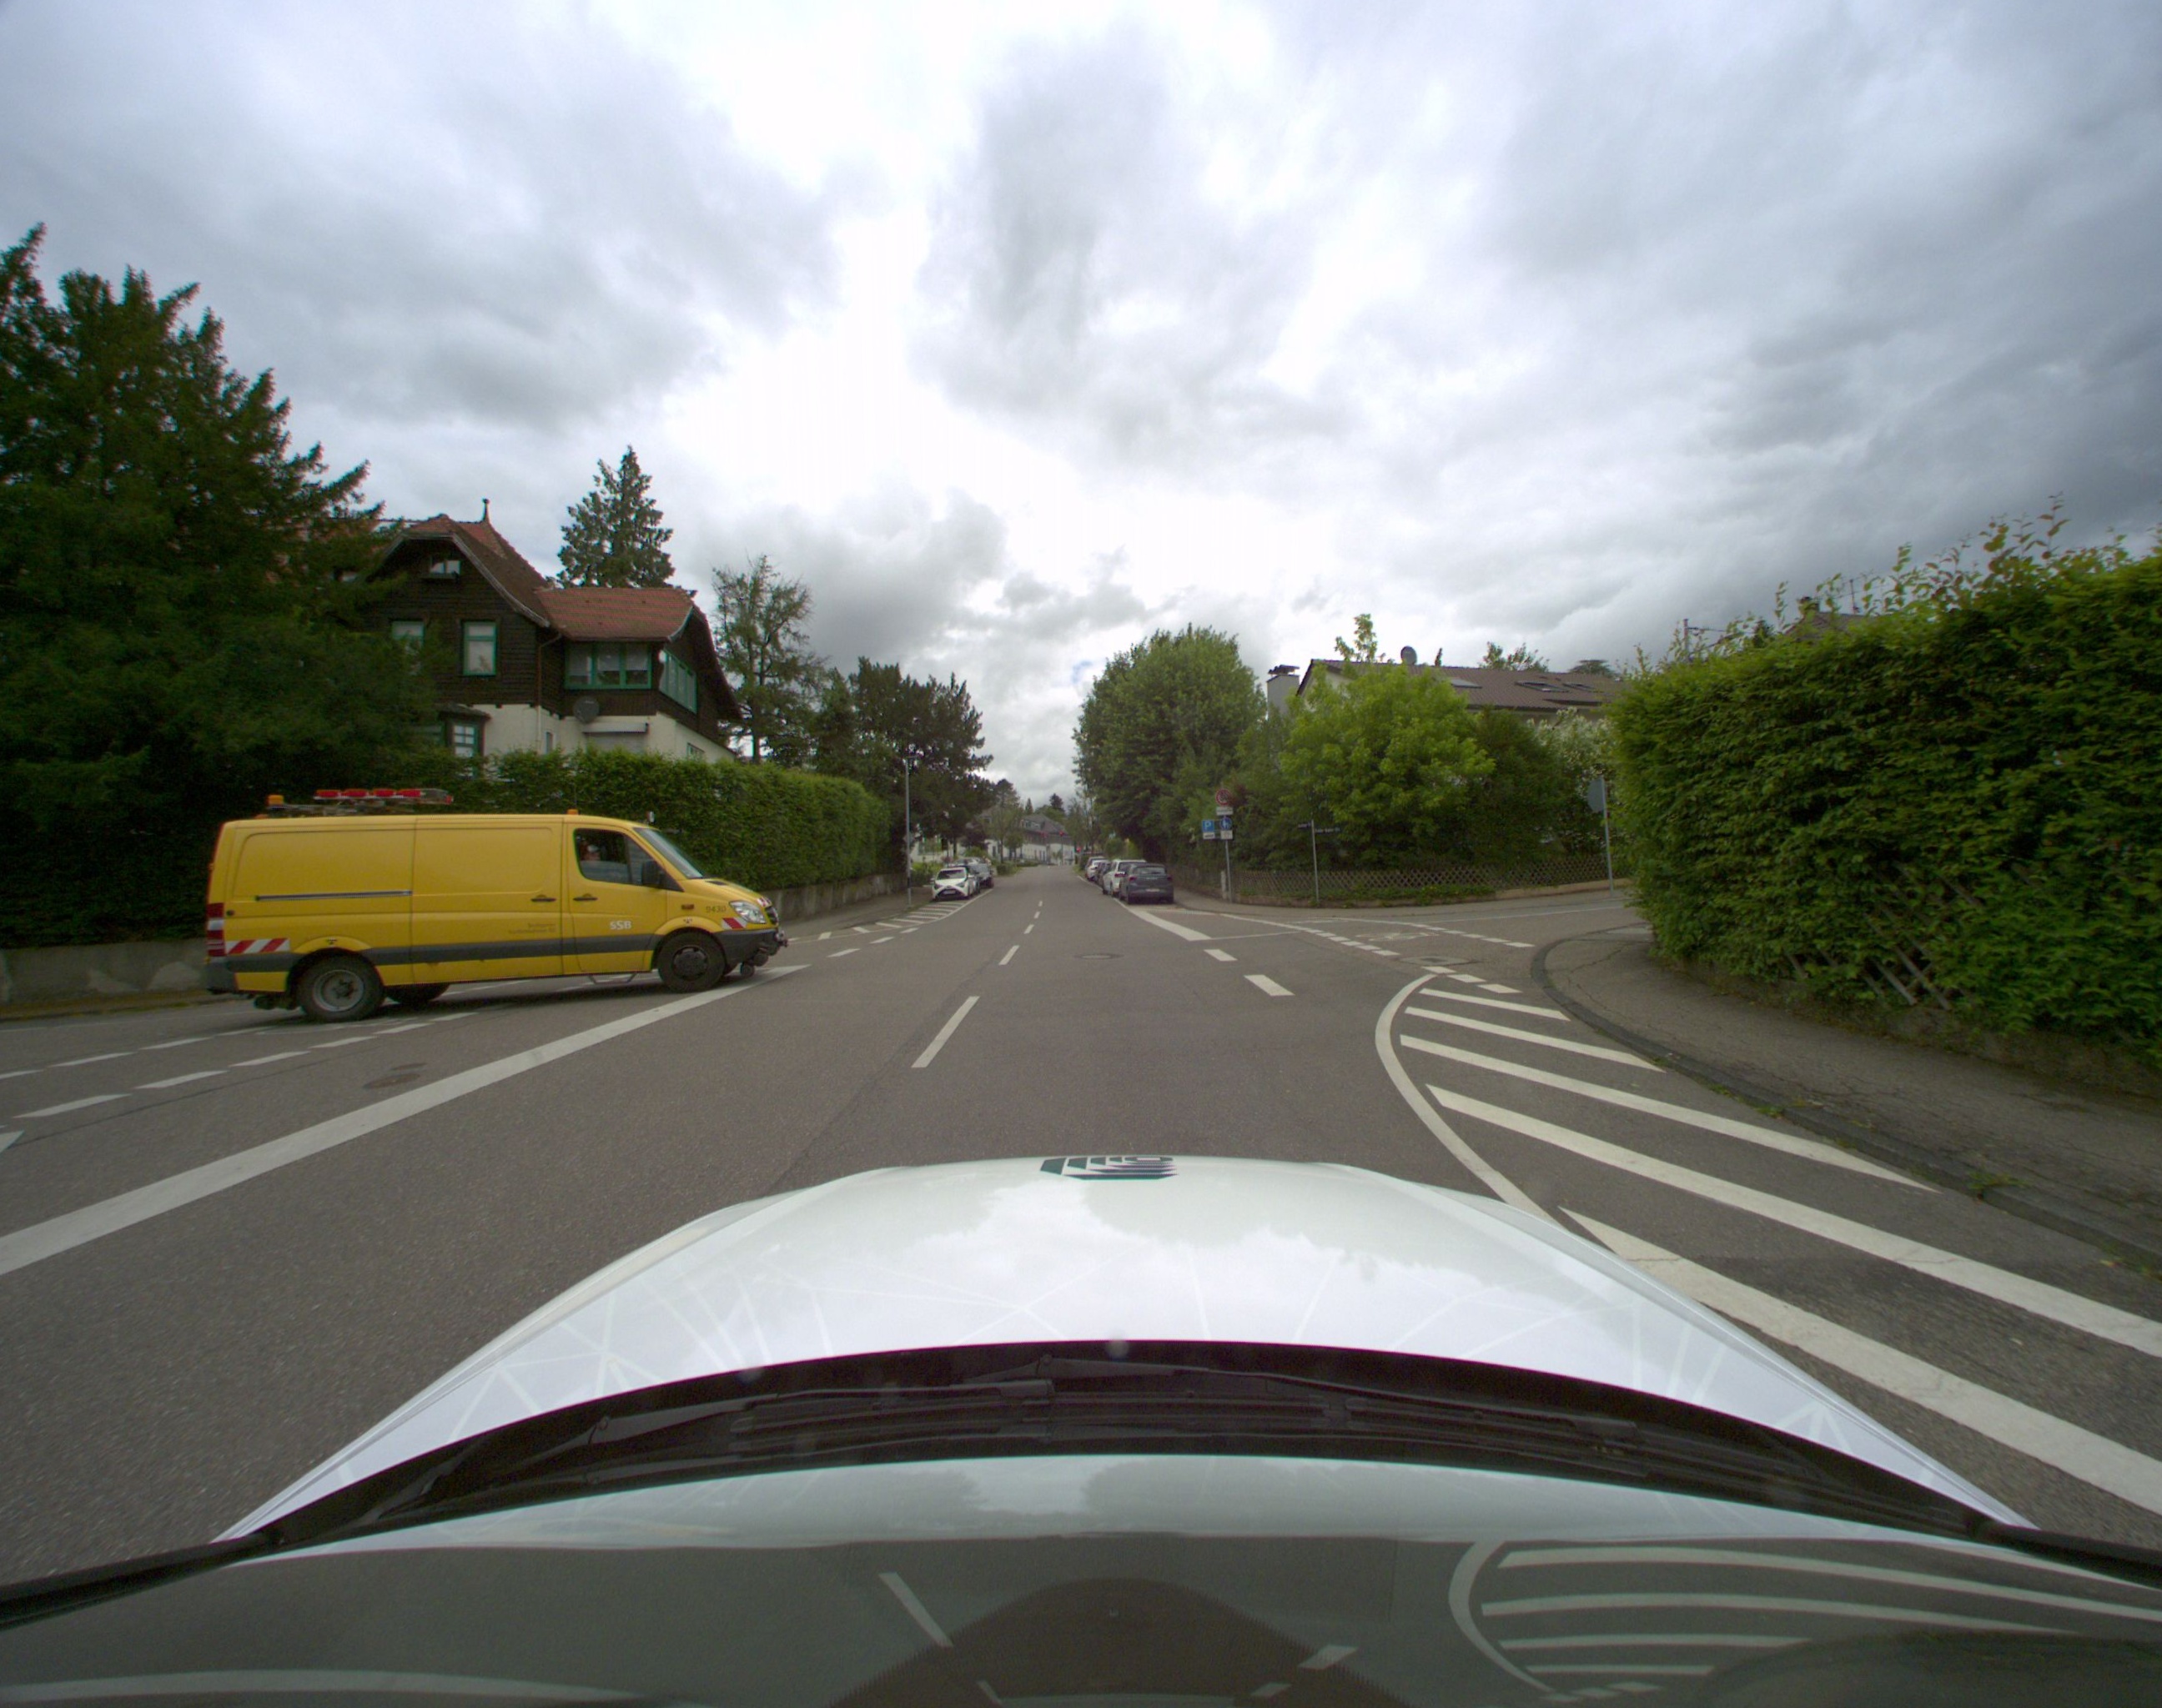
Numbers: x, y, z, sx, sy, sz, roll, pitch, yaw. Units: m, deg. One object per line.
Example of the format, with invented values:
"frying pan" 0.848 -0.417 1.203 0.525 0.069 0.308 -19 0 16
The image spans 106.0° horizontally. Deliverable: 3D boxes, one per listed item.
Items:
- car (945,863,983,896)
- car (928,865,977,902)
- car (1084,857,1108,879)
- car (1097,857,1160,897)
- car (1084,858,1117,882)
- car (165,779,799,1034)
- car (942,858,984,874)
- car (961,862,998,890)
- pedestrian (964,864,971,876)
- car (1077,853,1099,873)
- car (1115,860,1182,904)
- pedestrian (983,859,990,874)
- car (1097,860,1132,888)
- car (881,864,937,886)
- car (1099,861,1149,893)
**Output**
"car" -5.917 1.276 41.409 1.620 1.519 2.972 -2 -1 -3
"car" -5.798 1.288 37.087 1.741 1.448 3.510 -3 1 -3
"car" 1.148 1.044 63.185 1.712 1.632 3.925 0 0 -2
"car" 2.058 0.970 36.755 1.999 1.608 4.747 -3 0 -7
"car" 1.310 1.065 57.150 1.988 1.491 5.001 -3 0 -1
"car" -7.055 0.485 10.673 6.139 2.601 2.354 -3 0 -17
"car" -13.031 1.350 90.356 4.378 1.566 2.064 -3 0 -4
"car" -6.108 1.291 49.210 1.846 1.469 4.677 -2 0 -3
"pedestrian" -12.297 1.752 88.310 0.605 1.283 0.899 -1 -1 -2
"car" 0.666 0.866 79.739 1.931 1.838 5.215 -2 0 -2
"car" 2.548 1.024 31.833 1.933 1.491 4.451 -3 0 -3
"pedestrian" -10.359 1.409 89.503 0.592 1.640 0.565 -3 0 -1
"car" 1.854 1.116 46.393 1.693 1.508 4.157 0 0 -2
"car" -12.249 1.480 58.185 3.792 1.354 1.737 -2 0 -8
"car" 2.118 1.114 41.430 1.808 1.452 4.368 -2 0 -6
